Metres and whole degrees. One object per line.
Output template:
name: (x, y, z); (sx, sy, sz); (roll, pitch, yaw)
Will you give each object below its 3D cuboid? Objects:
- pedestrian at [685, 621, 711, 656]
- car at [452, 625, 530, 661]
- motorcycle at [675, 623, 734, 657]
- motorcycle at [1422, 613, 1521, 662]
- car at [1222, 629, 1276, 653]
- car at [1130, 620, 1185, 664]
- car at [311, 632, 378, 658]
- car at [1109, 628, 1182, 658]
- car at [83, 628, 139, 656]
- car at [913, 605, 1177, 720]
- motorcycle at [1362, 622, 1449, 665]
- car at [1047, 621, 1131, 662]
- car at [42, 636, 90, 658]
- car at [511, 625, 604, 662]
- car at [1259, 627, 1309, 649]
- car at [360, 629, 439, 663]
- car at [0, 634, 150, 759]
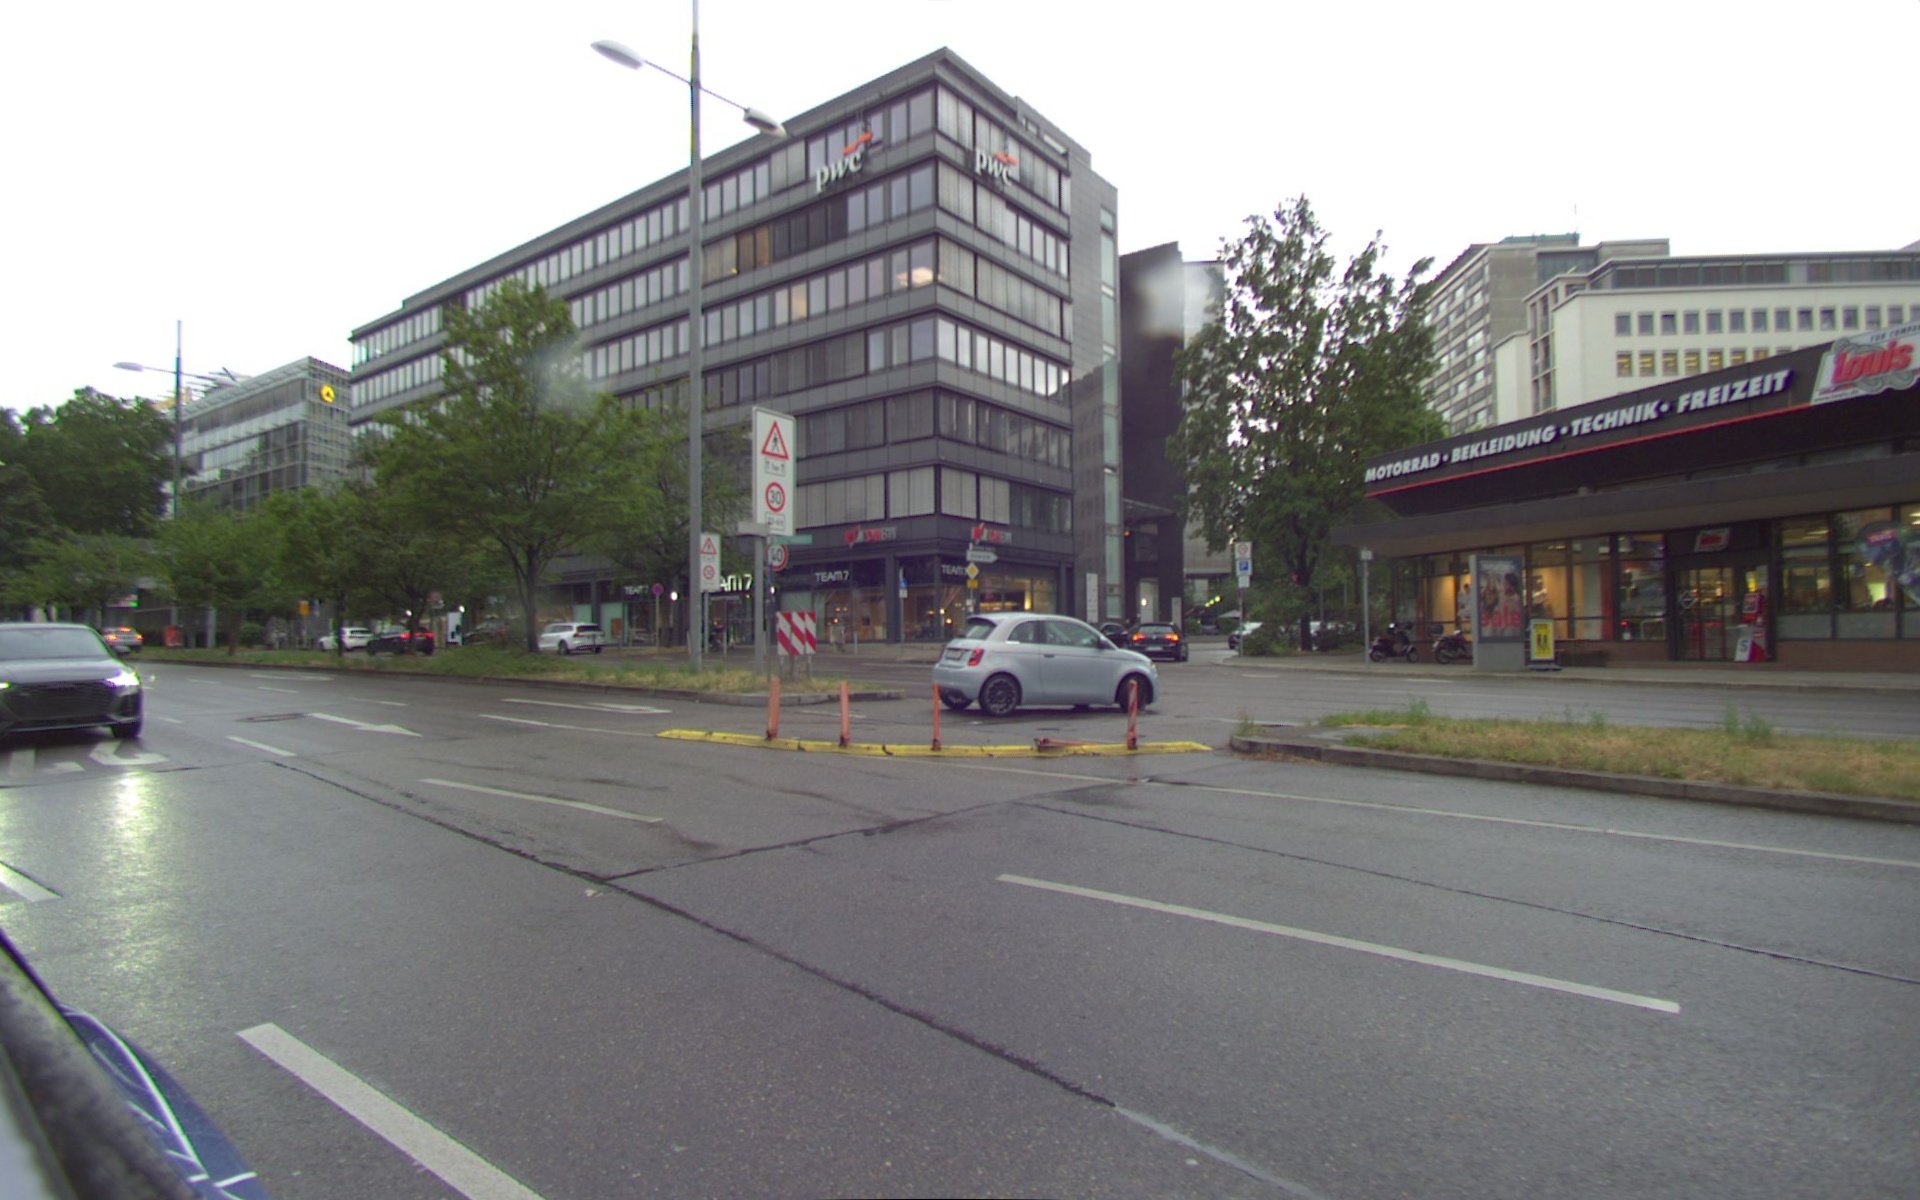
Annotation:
pedestrian: (-12.801, 1.877, 49.472); (0.964, 1.650, 0.776); (-2, -2, 37)
car: (-23.570, 2.128, 50.803); (4.305, 1.673, 1.791); (-2, -1, 39)
motorcycle: (-11.158, 1.762, 44.297); (2.344, 1.404, 0.857); (-1, 1, 11)
motorcycle: (15.414, 1.122, 30.512); (2.843, 1.384, 0.806); (-1, -1, -16)
car: (17.335, 2.446, 60.586); (1.844, 1.298, 3.951); (-1, -1, 36)
car: (7.188, 1.490, 36.935); (1.825, 1.462, 4.672); (-1, -1, 11)
car: (-36.869, 2.677, 60.578); (4.299, 1.455, 1.793); (-2, -1, 34)
car: (8.899, 2.033, 48.381); (1.844, 1.298, 3.950); (-1, -1, 37)
car: (-55.448, 2.747, 66.085); (4.483, 1.741, 1.722); (-2, -1, 35)
car: (1.291, 0.902, 15.665); (3.627, 1.585, 1.795); (0, -2, -20)
motorcycle: (14.722, 1.429, 33.445); (2.773, 1.343, 0.725); (-1, -1, -15)
car: (5.754, 1.800, 44.793); (1.997, 1.652, 3.950); (-1, -1, 37)
car: (-62.416, 3.286, 70.641); (4.074, 1.442, 1.667); (-2, -2, 36)
car: (-18.734, 1.998, 47.028); (4.765, 1.496, 1.792); (-2, 1, 38)
car: (20.828, 2.437, 64.966); (1.844, 1.298, 3.949); (-1, -1, 38)
car: (-27.581, 2.239, 49.718); (4.480, 1.556, 1.973); (-2, -2, 41)
car: (-12.672, 1.203, 13.579); (4.282, 1.446, 1.917); (-2, -2, 39)
